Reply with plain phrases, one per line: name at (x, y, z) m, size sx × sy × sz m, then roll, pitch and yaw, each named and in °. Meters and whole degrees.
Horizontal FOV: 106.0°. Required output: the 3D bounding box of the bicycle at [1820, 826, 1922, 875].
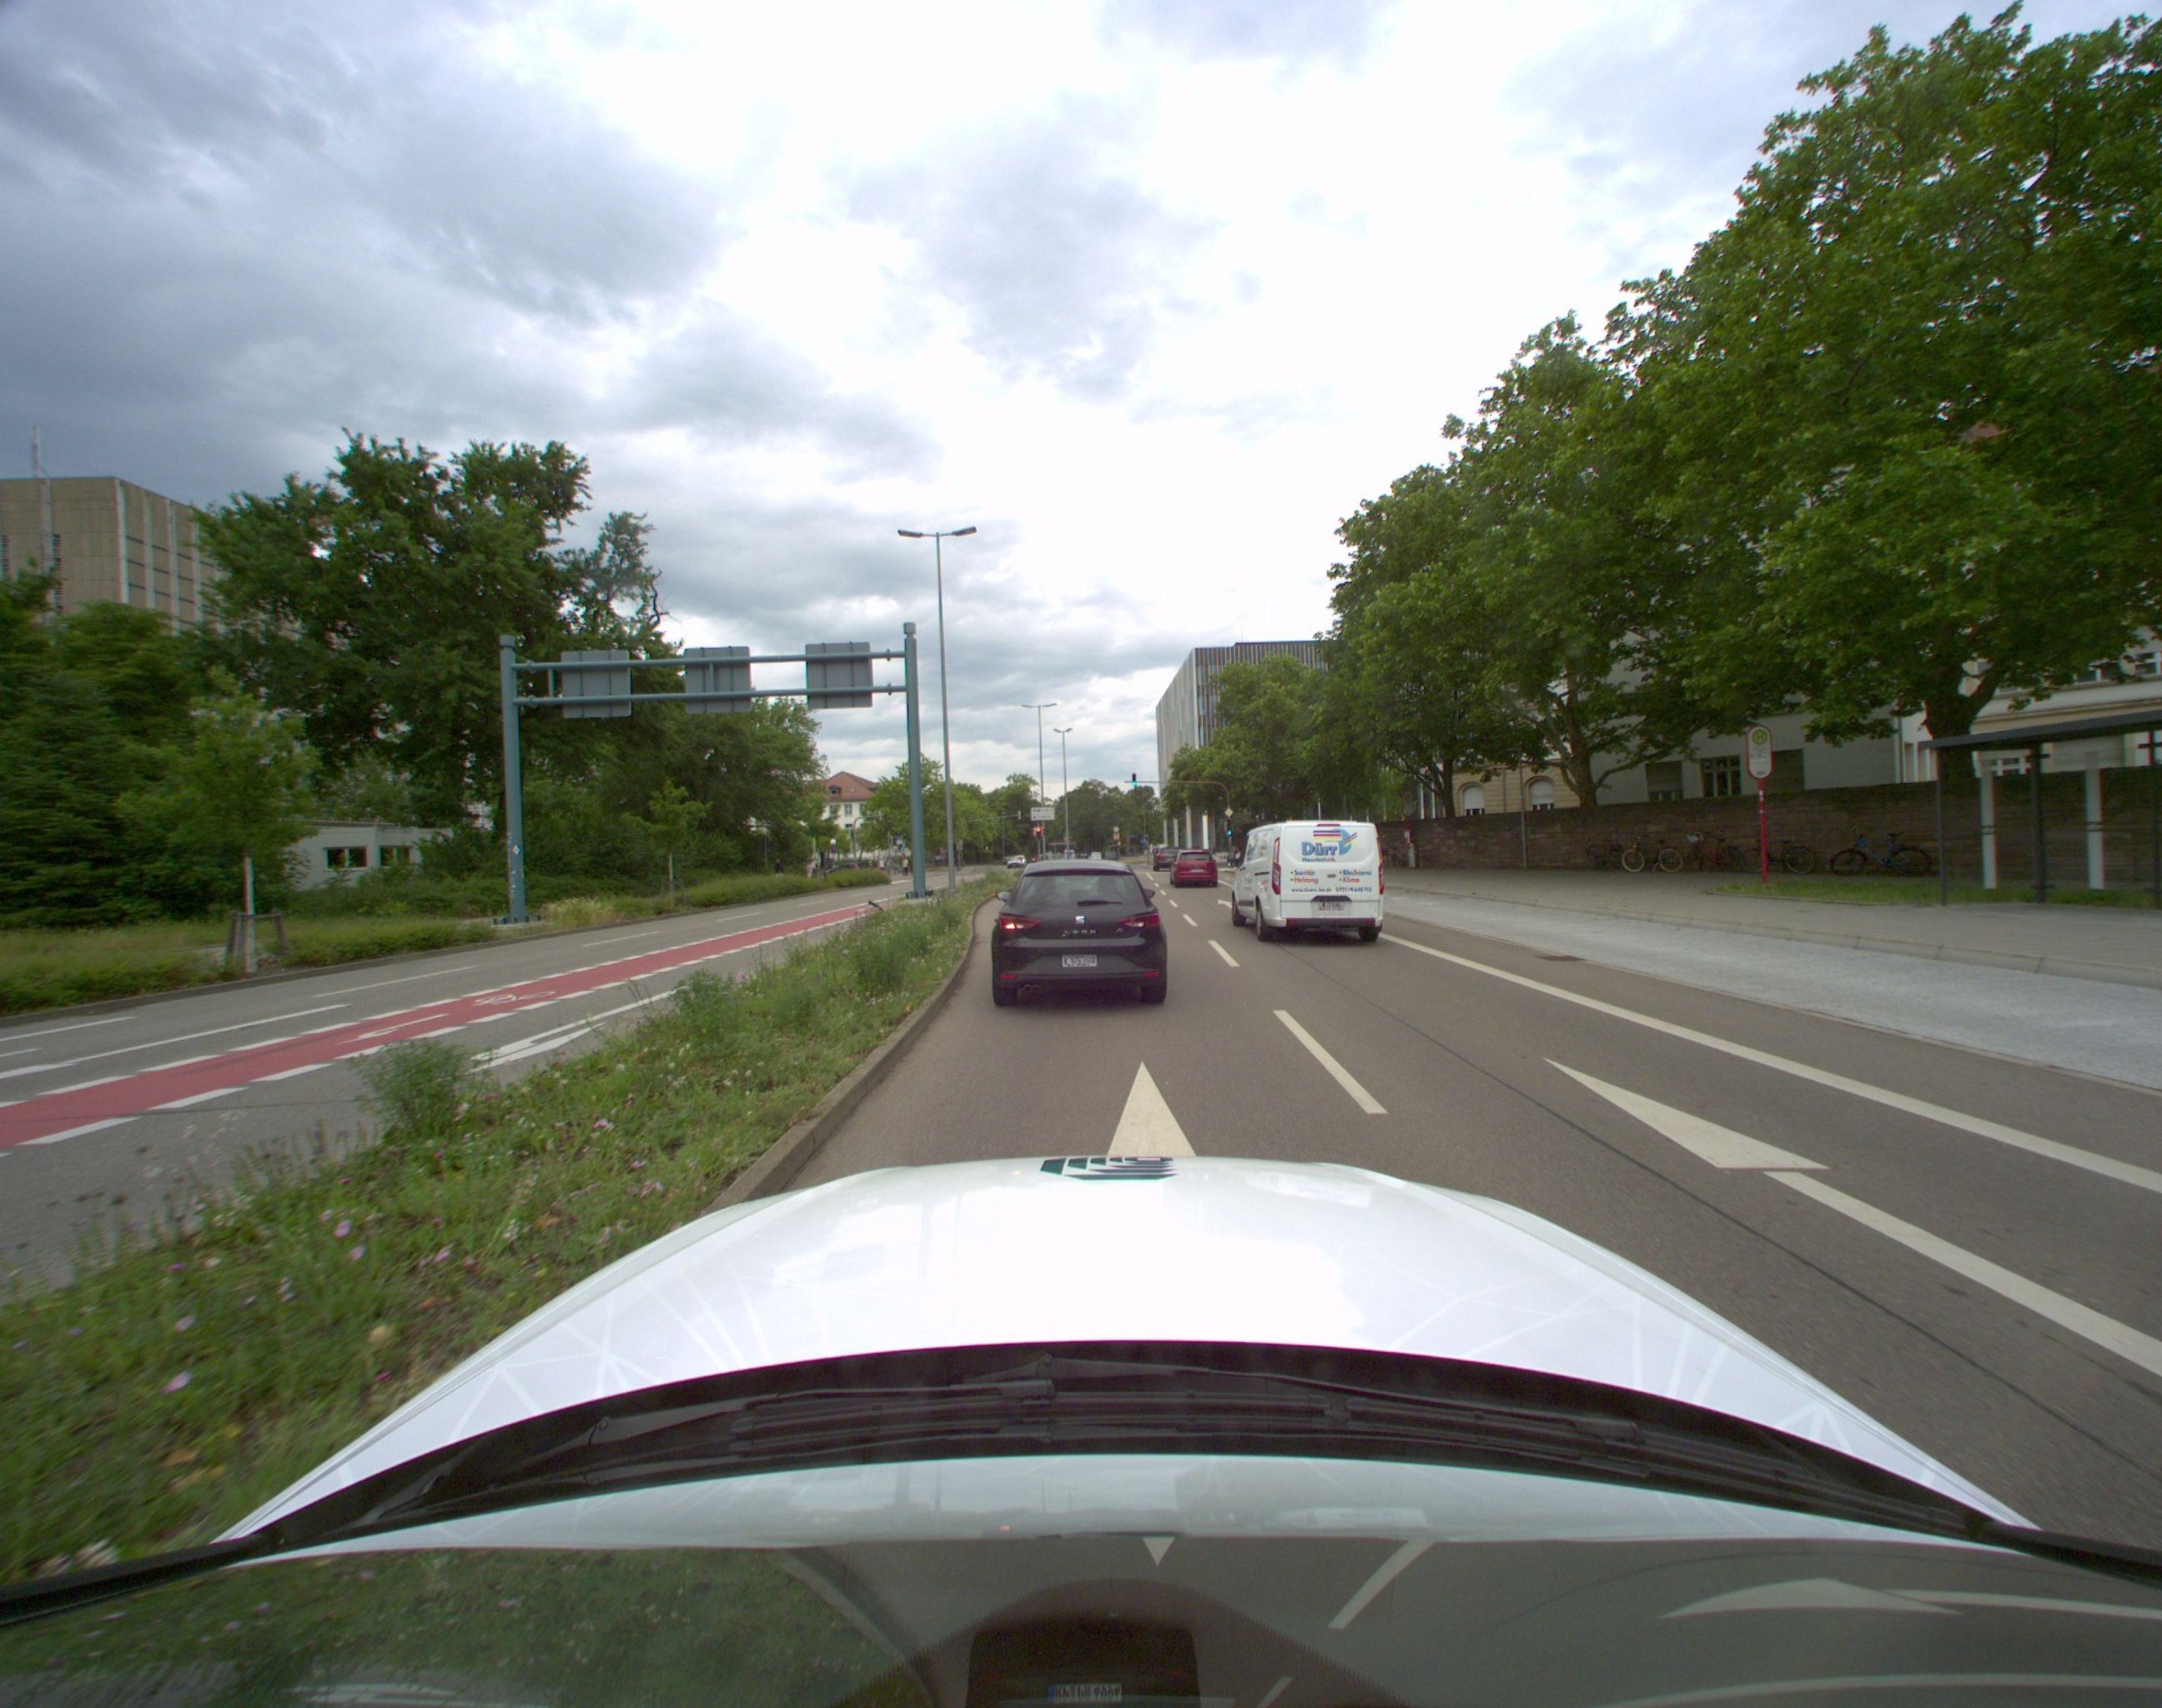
bicycle at (18.980, -0.083, 19.608) m, size 0.598 × 1.104 × 1.645 m, roll -4°, pitch 1°, yaw -17°

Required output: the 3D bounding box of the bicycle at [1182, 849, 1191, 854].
bicycle at (16.484, -0.441, 127.427) m, size 1.368 × 0.705 × 0.417 m, roll -4°, pitch 1°, yaw 5°

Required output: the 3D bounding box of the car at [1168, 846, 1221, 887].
car at (4.812, 0.485, 34.899) m, size 1.941 × 1.624 × 3.753 m, roll -1°, pitch 1°, yaw 3°

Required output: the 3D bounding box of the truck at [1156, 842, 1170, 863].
truck at (9.234, -0.176, 91.912) m, size 1.312 × 2.243 × 3.404 m, roll -4°, pitch 1°, yaw 2°

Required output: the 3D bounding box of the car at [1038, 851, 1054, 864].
car at (-4.352, 0.424, 100.806) m, size 1.760 × 1.460 × 4.787 m, roll -4°, pitch 0°, yaw -3°

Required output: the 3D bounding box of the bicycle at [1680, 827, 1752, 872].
bicycle at (18.247, -0.115, 23.437) m, size 0.500 × 1.221 × 1.618 m, roll -4°, pitch 1°, yaw -15°

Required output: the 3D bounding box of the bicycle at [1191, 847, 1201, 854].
bicycle at (16.853, -0.517, 119.159) m, size 1.445 × 0.857 × 0.362 m, roll -4°, pitch 1°, yaw -25°

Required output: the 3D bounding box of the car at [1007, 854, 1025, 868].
car at (-7.590, 0.785, 95.193) m, size 1.601 × 1.381 × 3.811 m, roll -4°, pitch 1°, yaw 3°

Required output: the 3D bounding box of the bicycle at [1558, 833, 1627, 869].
bicycle at (17.113, -0.090, 27.287) m, size 0.722 × 1.100 × 1.776 m, roll -4°, pitch 1°, yaw -27°

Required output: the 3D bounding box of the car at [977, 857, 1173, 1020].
car at (0.018, 0.771, 9.239) m, size 1.746 × 1.432 × 3.771 m, roll -1°, pitch 0°, yaw 2°

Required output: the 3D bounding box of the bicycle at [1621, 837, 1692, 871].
bicycle at (17.765, 0.005, 25.189) m, size 0.654 × 0.951 × 1.761 m, roll -4°, pitch 1°, yaw -15°

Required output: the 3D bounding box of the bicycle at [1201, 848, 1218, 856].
bicycle at (15.728, -0.266, 99.553) m, size 1.892 × 0.898 × 0.693 m, roll -4°, pitch 1°, yaw -19°

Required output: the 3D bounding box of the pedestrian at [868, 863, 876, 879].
pedestrian at (-20.574, 1.656, 80.071) m, size 0.572 × 1.526 × 0.843 m, roll -2°, pitch -4°, yaw -21°

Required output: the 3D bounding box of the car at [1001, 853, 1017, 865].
car at (-11.513, 0.757, 130.641) m, size 1.899 × 1.716 × 4.003 m, roll -4°, pitch 1°, yaw 2°

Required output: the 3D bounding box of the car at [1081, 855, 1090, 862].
car at (0.863, 0.760, 144.820) m, size 1.501 × 1.193 × 3.162 m, roll -4°, pitch 1°, yaw -1°

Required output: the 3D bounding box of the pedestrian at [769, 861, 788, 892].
pedestrian at (-17.515, 1.271, 47.181) m, size 0.618 × 1.729 × 0.819 m, roll -4°, pitch 0°, yaw 2°

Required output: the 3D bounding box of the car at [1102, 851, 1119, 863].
car at (3.628, 0.362, 100.108) m, size 1.893 × 1.354 × 3.881 m, roll -4°, pitch 1°, yaw -1°

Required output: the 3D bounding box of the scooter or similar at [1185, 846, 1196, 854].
scooter or similar at (16.358, -0.651, 121.539) m, size 1.681 × 1.106 × 0.494 m, roll -4°, pitch 1°, yaw -29°

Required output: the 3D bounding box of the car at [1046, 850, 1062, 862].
car at (-3.906, 0.302, 119.636) m, size 1.913 × 1.664 × 4.402 m, roll -4°, pitch 0°, yaw 3°

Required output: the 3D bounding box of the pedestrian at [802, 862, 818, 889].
pedestrian at (-17.624, 1.388, 53.007) m, size 0.697 × 1.636 × 0.672 m, roll -4°, pitch 0°, yaw 2°

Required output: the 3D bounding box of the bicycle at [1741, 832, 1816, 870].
bicycle at (18.673, -0.077, 21.843) m, size 0.416 × 0.942 × 1.517 m, roll -4°, pitch 1°, yaw -15°

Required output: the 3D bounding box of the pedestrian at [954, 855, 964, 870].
pedestrian at (-13.489, 0.944, 90.127) m, size 0.873 × 1.586 × 0.543 m, roll -4°, pitch 0°, yaw -5°

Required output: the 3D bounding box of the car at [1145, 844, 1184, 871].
car at (5.635, 0.223, 55.431) m, size 1.911 × 1.664 × 4.108 m, roll -4°, pitch 1°, yaw -4°

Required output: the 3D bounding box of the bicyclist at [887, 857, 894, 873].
bicyclist at (-19.165, 1.123, 81.888) m, size 0.667 × 1.635 × 0.956 m, roll -1°, pitch -1°, yaw -16°

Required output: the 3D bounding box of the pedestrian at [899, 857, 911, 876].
pedestrian at (-17.386, 1.235, 80.385) m, size 0.846 × 1.740 × 0.821 m, roll -1°, pitch -5°, yaw -36°

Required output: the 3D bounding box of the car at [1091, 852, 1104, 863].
car at (2.246, 0.460, 114.785) m, size 1.611 × 1.354 × 3.999 m, roll -4°, pitch 1°, yaw -1°

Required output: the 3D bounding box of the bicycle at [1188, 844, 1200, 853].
bicycle at (16.733, -0.785, 120.946) m, size 1.784 × 1.211 × 0.564 m, roll -4°, pitch 1°, yaw -32°

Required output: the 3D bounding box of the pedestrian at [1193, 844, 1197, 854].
pedestrian at (15.699, -0.726, 111.926) m, size 0.469 × 1.361 × 0.447 m, roll -4°, pitch 0°, yaw 12°

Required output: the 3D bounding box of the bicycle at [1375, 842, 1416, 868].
bicycle at (15.133, 0.051, 39.270) m, size 0.849 × 1.127 × 1.915 m, roll -4°, pitch 0°, yaw -12°

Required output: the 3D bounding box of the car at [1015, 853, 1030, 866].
car at (-7.320, 0.677, 102.499) m, size 1.701 × 1.431 × 4.222 m, roll -4°, pitch 1°, yaw -3°

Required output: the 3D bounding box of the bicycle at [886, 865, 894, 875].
bicycle at (-19.174, 1.611, 81.905) m, size 0.667 × 1.062 × 1.610 m, roll -1°, pitch -1°, yaw -16°

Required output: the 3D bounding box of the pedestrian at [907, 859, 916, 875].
pedestrian at (-17.189, 1.310, 82.585) m, size 0.791 × 1.558 × 0.695 m, roll -2°, pitch -3°, yaw -18°

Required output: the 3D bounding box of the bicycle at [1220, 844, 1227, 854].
bicycle at (18.774, -0.662, 107.509) m, size 0.522 × 1.253 × 1.674 m, roll -4°, pitch 1°, yaw 21°

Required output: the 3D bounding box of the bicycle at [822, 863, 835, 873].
bicycle at (-30.825, 1.702, 99.543) m, size 1.405 × 1.052 × 0.585 m, roll -4°, pitch 1°, yaw -18°

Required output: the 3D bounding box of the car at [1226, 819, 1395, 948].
car at (3.917, 0.433, 14.702) m, size 1.959 × 1.972 × 4.346 m, roll -1°, pitch 1°, yaw 2°

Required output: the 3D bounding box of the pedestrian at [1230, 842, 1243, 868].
pedestrian at (10.610, 0.074, 55.566) m, size 0.459 × 1.739 × 0.550 m, roll -4°, pitch 1°, yaw -37°

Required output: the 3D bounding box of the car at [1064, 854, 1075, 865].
car at (-1.872, 0.864, 131.158) m, size 1.690 × 1.503 × 4.008 m, roll -4°, pitch 1°, yaw -1°
